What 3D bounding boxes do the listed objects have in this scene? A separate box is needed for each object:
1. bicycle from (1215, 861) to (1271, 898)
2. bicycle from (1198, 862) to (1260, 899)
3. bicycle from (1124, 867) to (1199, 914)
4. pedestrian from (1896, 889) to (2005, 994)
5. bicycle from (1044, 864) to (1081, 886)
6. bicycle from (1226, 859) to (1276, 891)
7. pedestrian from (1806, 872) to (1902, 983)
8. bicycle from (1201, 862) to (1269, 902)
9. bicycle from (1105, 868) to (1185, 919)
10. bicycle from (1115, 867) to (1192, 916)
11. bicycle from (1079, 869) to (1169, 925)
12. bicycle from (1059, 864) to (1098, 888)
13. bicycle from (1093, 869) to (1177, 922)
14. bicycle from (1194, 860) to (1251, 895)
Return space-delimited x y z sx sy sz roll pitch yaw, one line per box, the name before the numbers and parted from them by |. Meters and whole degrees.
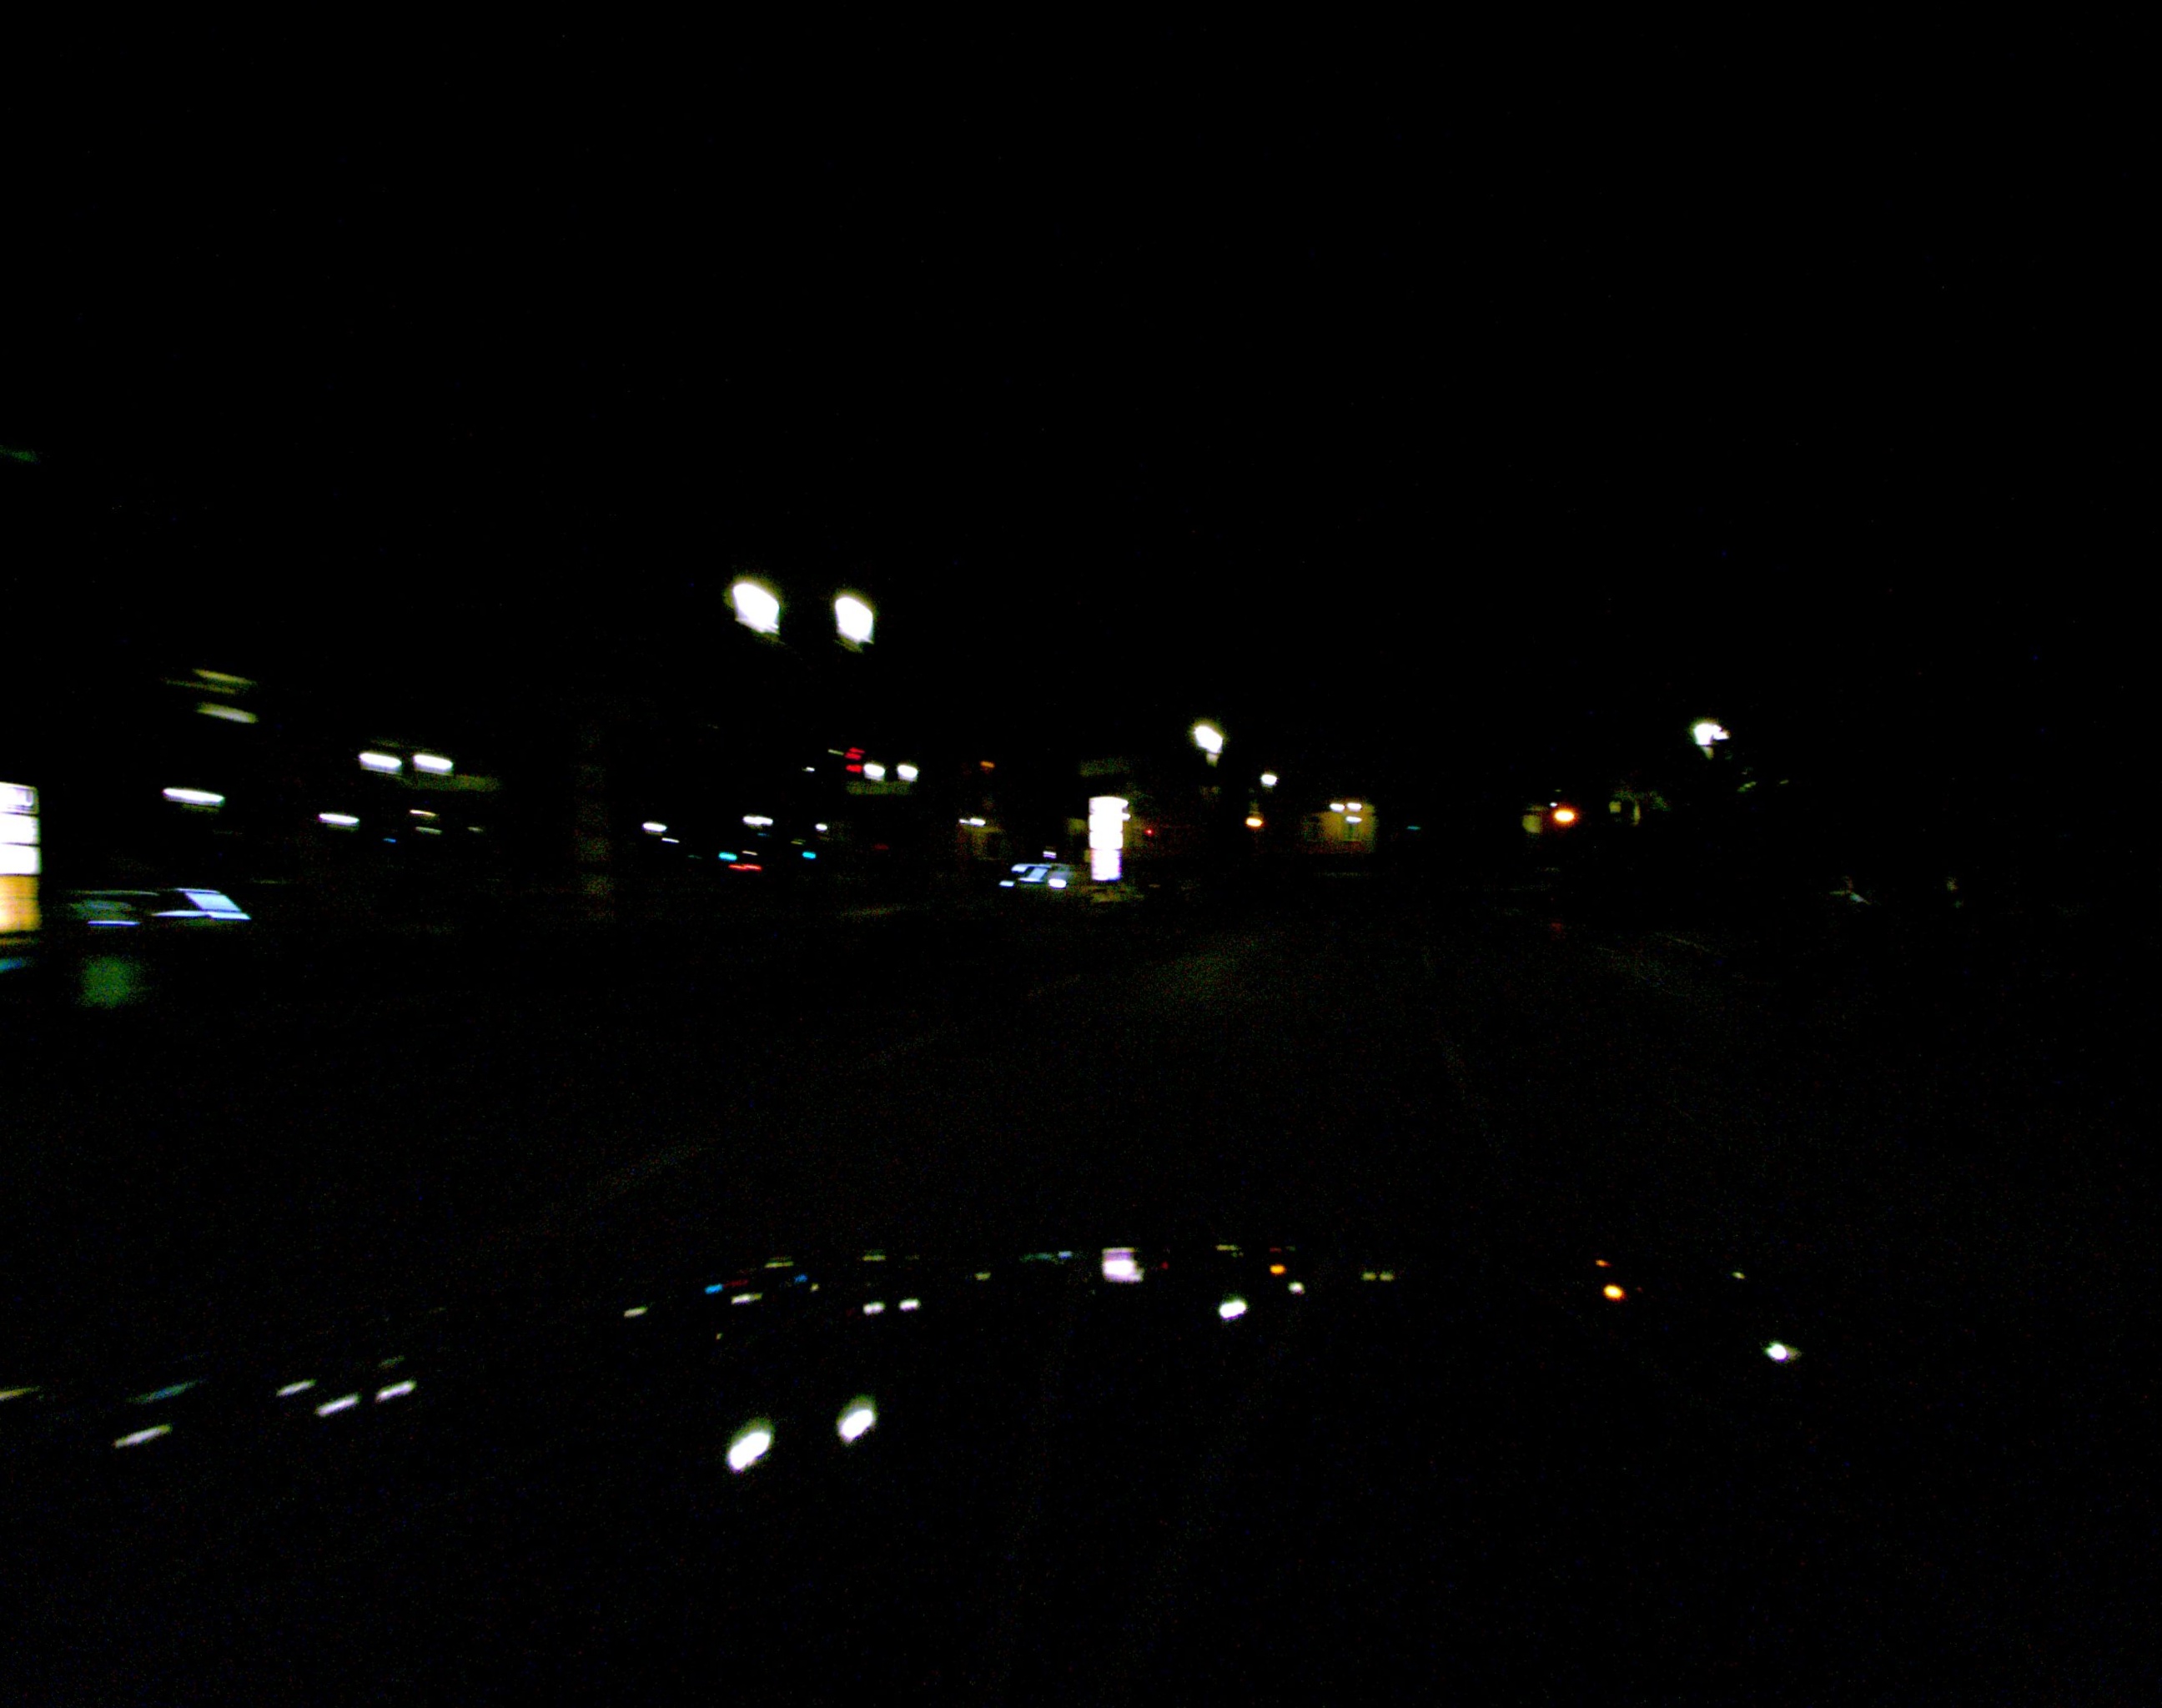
bicycle | 5.204 0.808 24.407 1.656 1.128 0.643 -1 1 21
bicycle | 4.608 0.818 23.649 1.790 1.128 0.630 -1 1 20
bicycle | 2.039 0.906 19.255 1.773 1.144 0.583 -1 1 26
pedestrian | 10.294 1.014 9.020 0.575 1.157 0.679 -1 1 18
bicycle | -0.983 1.099 40.388 1.806 1.121 0.649 -2 1 -29
bicycle | 6.174 0.753 27.536 1.657 1.134 0.829 -1 1 21
pedestrian | 9.976 0.928 9.833 0.676 1.370 0.577 -1 1 18
bicycle | 4.523 0.830 22.344 1.866 1.128 0.726 -1 1 20
bicycle | 1.514 0.918 18.001 1.774 1.144 0.583 -1 1 20
bicycle | 1.766 0.913 18.692 1.773 1.144 0.583 -1 1 26
bicycle | 0.935 0.928 16.525 1.784 1.144 0.761 -1 1 20
bicycle | -0.120 1.104 37.980 1.806 1.121 0.649 -2 1 -29
bicycle | 1.235 0.923 17.299 1.774 1.144 0.615 -1 1 20
bicycle | 4.806 0.791 25.753 1.771 1.134 0.688 -1 1 21
